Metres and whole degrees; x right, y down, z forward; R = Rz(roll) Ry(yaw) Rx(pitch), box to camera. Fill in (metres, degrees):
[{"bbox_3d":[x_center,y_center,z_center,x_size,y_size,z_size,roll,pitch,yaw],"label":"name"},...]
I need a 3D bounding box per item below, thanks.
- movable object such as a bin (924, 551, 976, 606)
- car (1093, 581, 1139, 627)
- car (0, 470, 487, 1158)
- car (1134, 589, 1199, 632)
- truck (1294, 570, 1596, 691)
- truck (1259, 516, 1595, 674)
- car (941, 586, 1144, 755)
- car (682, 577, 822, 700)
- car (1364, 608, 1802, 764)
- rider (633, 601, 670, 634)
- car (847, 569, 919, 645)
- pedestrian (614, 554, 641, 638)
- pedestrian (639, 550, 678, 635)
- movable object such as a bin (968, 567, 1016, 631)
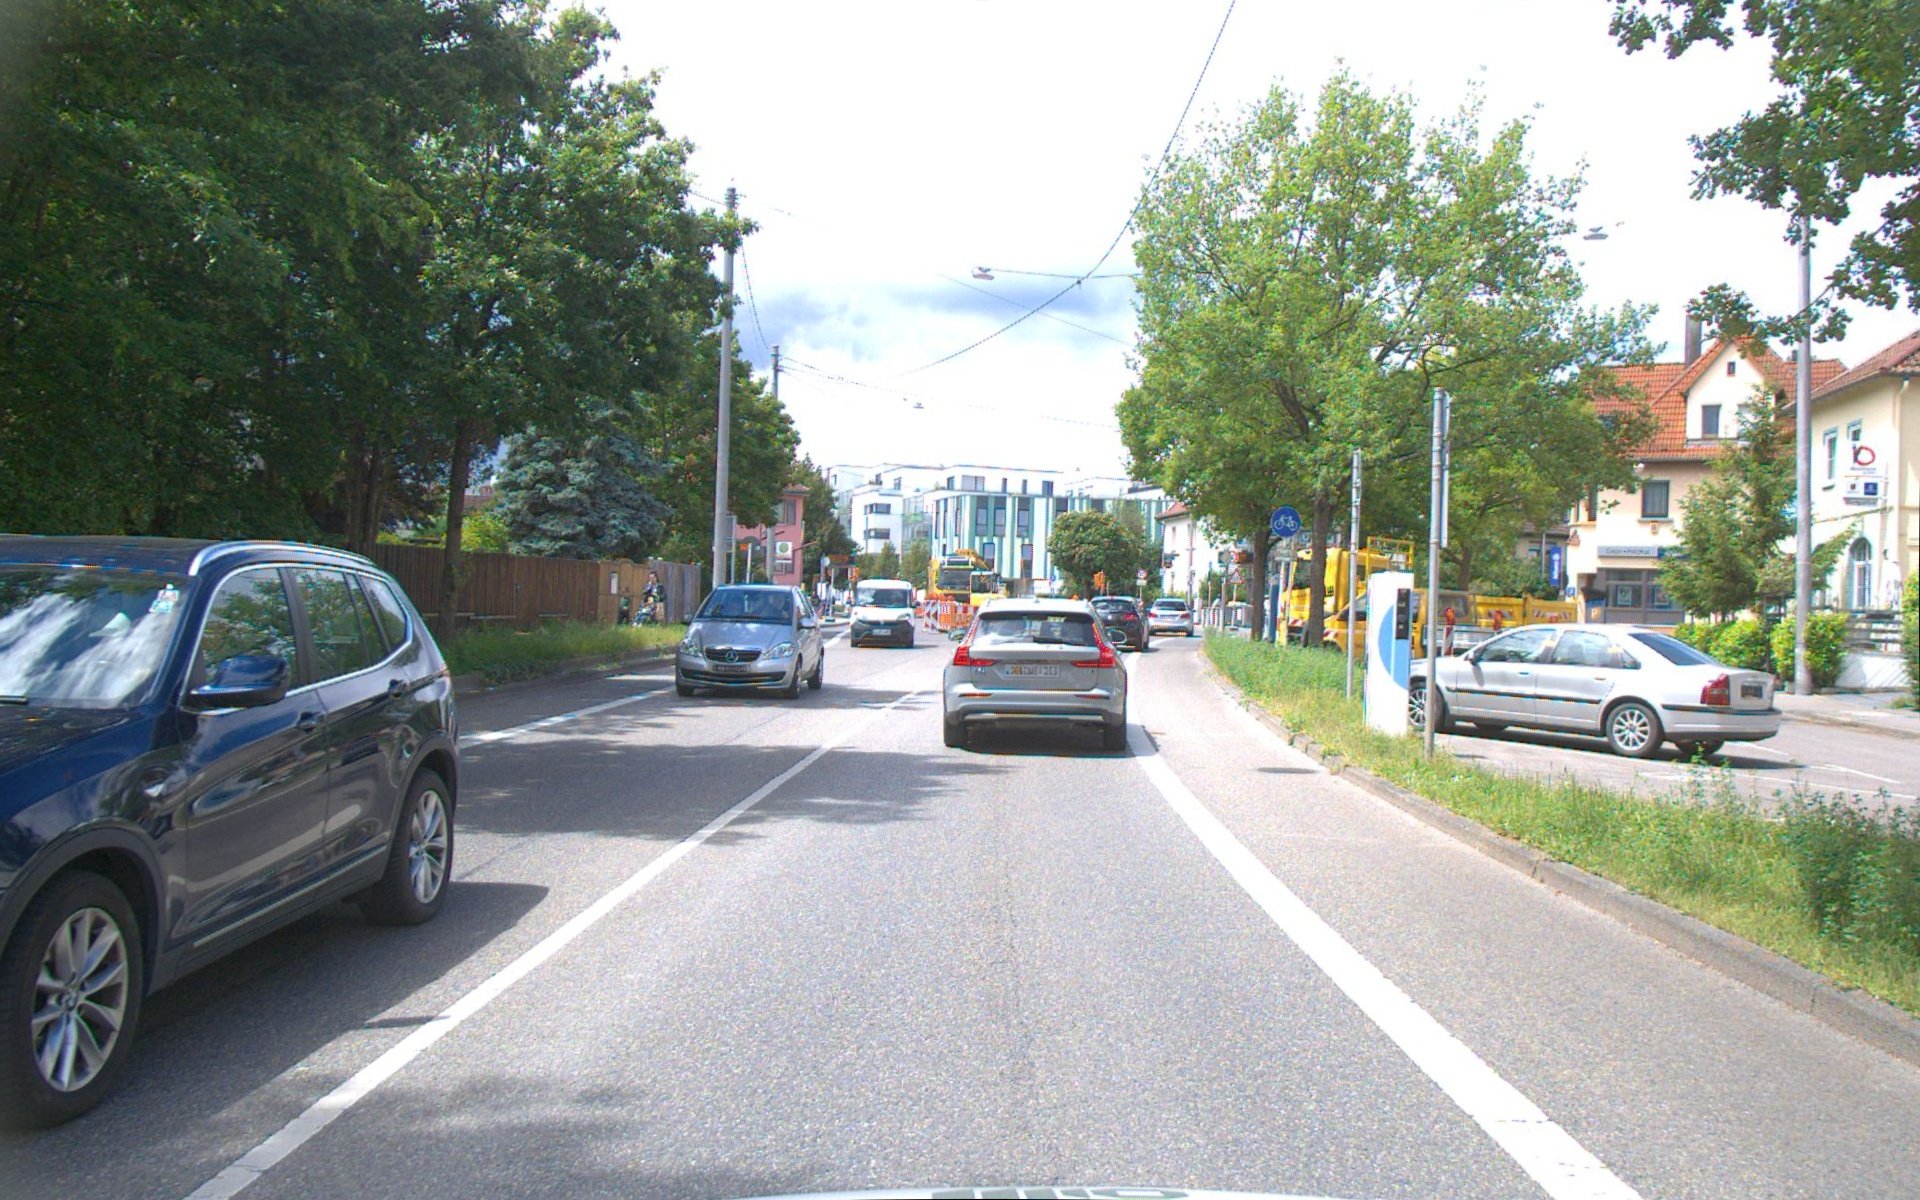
[{"bbox_3d":[-0.642,-1.249,97.694,2.266,3.042,6.417,2,0,-7],"label":"movable object such as a bin"},{"bbox_3d":[7.790,0.207,82.453,1.951,2.048,4.003,4,-1,8],"label":"car"},{"bbox_3d":[-3.271,0.531,5.916,1.841,1.717,4.247,0,0,1],"label":"car"},{"bbox_3d":[8.259,0.451,66.418,2.059,1.536,3.999,4,-1,0],"label":"car"},{"bbox_3d":[9.682,0.565,33.454,1.982,2.048,5.594,5,-2,-41],"label":"truck"},{"bbox_3d":[10.269,-0.179,36.830,2.749,3.060,6.599,6,-2,-44],"label":"truck"},{"bbox_3d":[0.849,0.661,17.509,1.888,1.567,4.001,1,0,2],"label":"car"},{"bbox_3d":[-3.031,0.570,24.789,1.674,1.646,3.998,2,-1,-2],"label":"car"},{"bbox_3d":[7.344,0.953,19.880,1.753,1.477,4.618,3,0,-42],"label":"car"},{"bbox_3d":[-7.514,0.432,40.319,0.714,0.747,0.690,4,-1,-1],"label":"rider"},{"bbox_3d":[-2.112,0.227,45.934,1.811,1.908,4.591,3,-1,-2],"label":"car"},{"bbox_3d":[-8.233,-0.101,40.959,0.394,2.048,0.414,4,-1,3],"label":"pedestrian"},{"bbox_3d":[-7.489,-0.173,41.105,0.700,2.048,0.771,4,-1,-1],"label":"pedestrian"},{"bbox_3d":[1.444,-0.045,74.273,1.992,2.689,5.940,2,0,1],"label":"movable object such as a bin"}]
